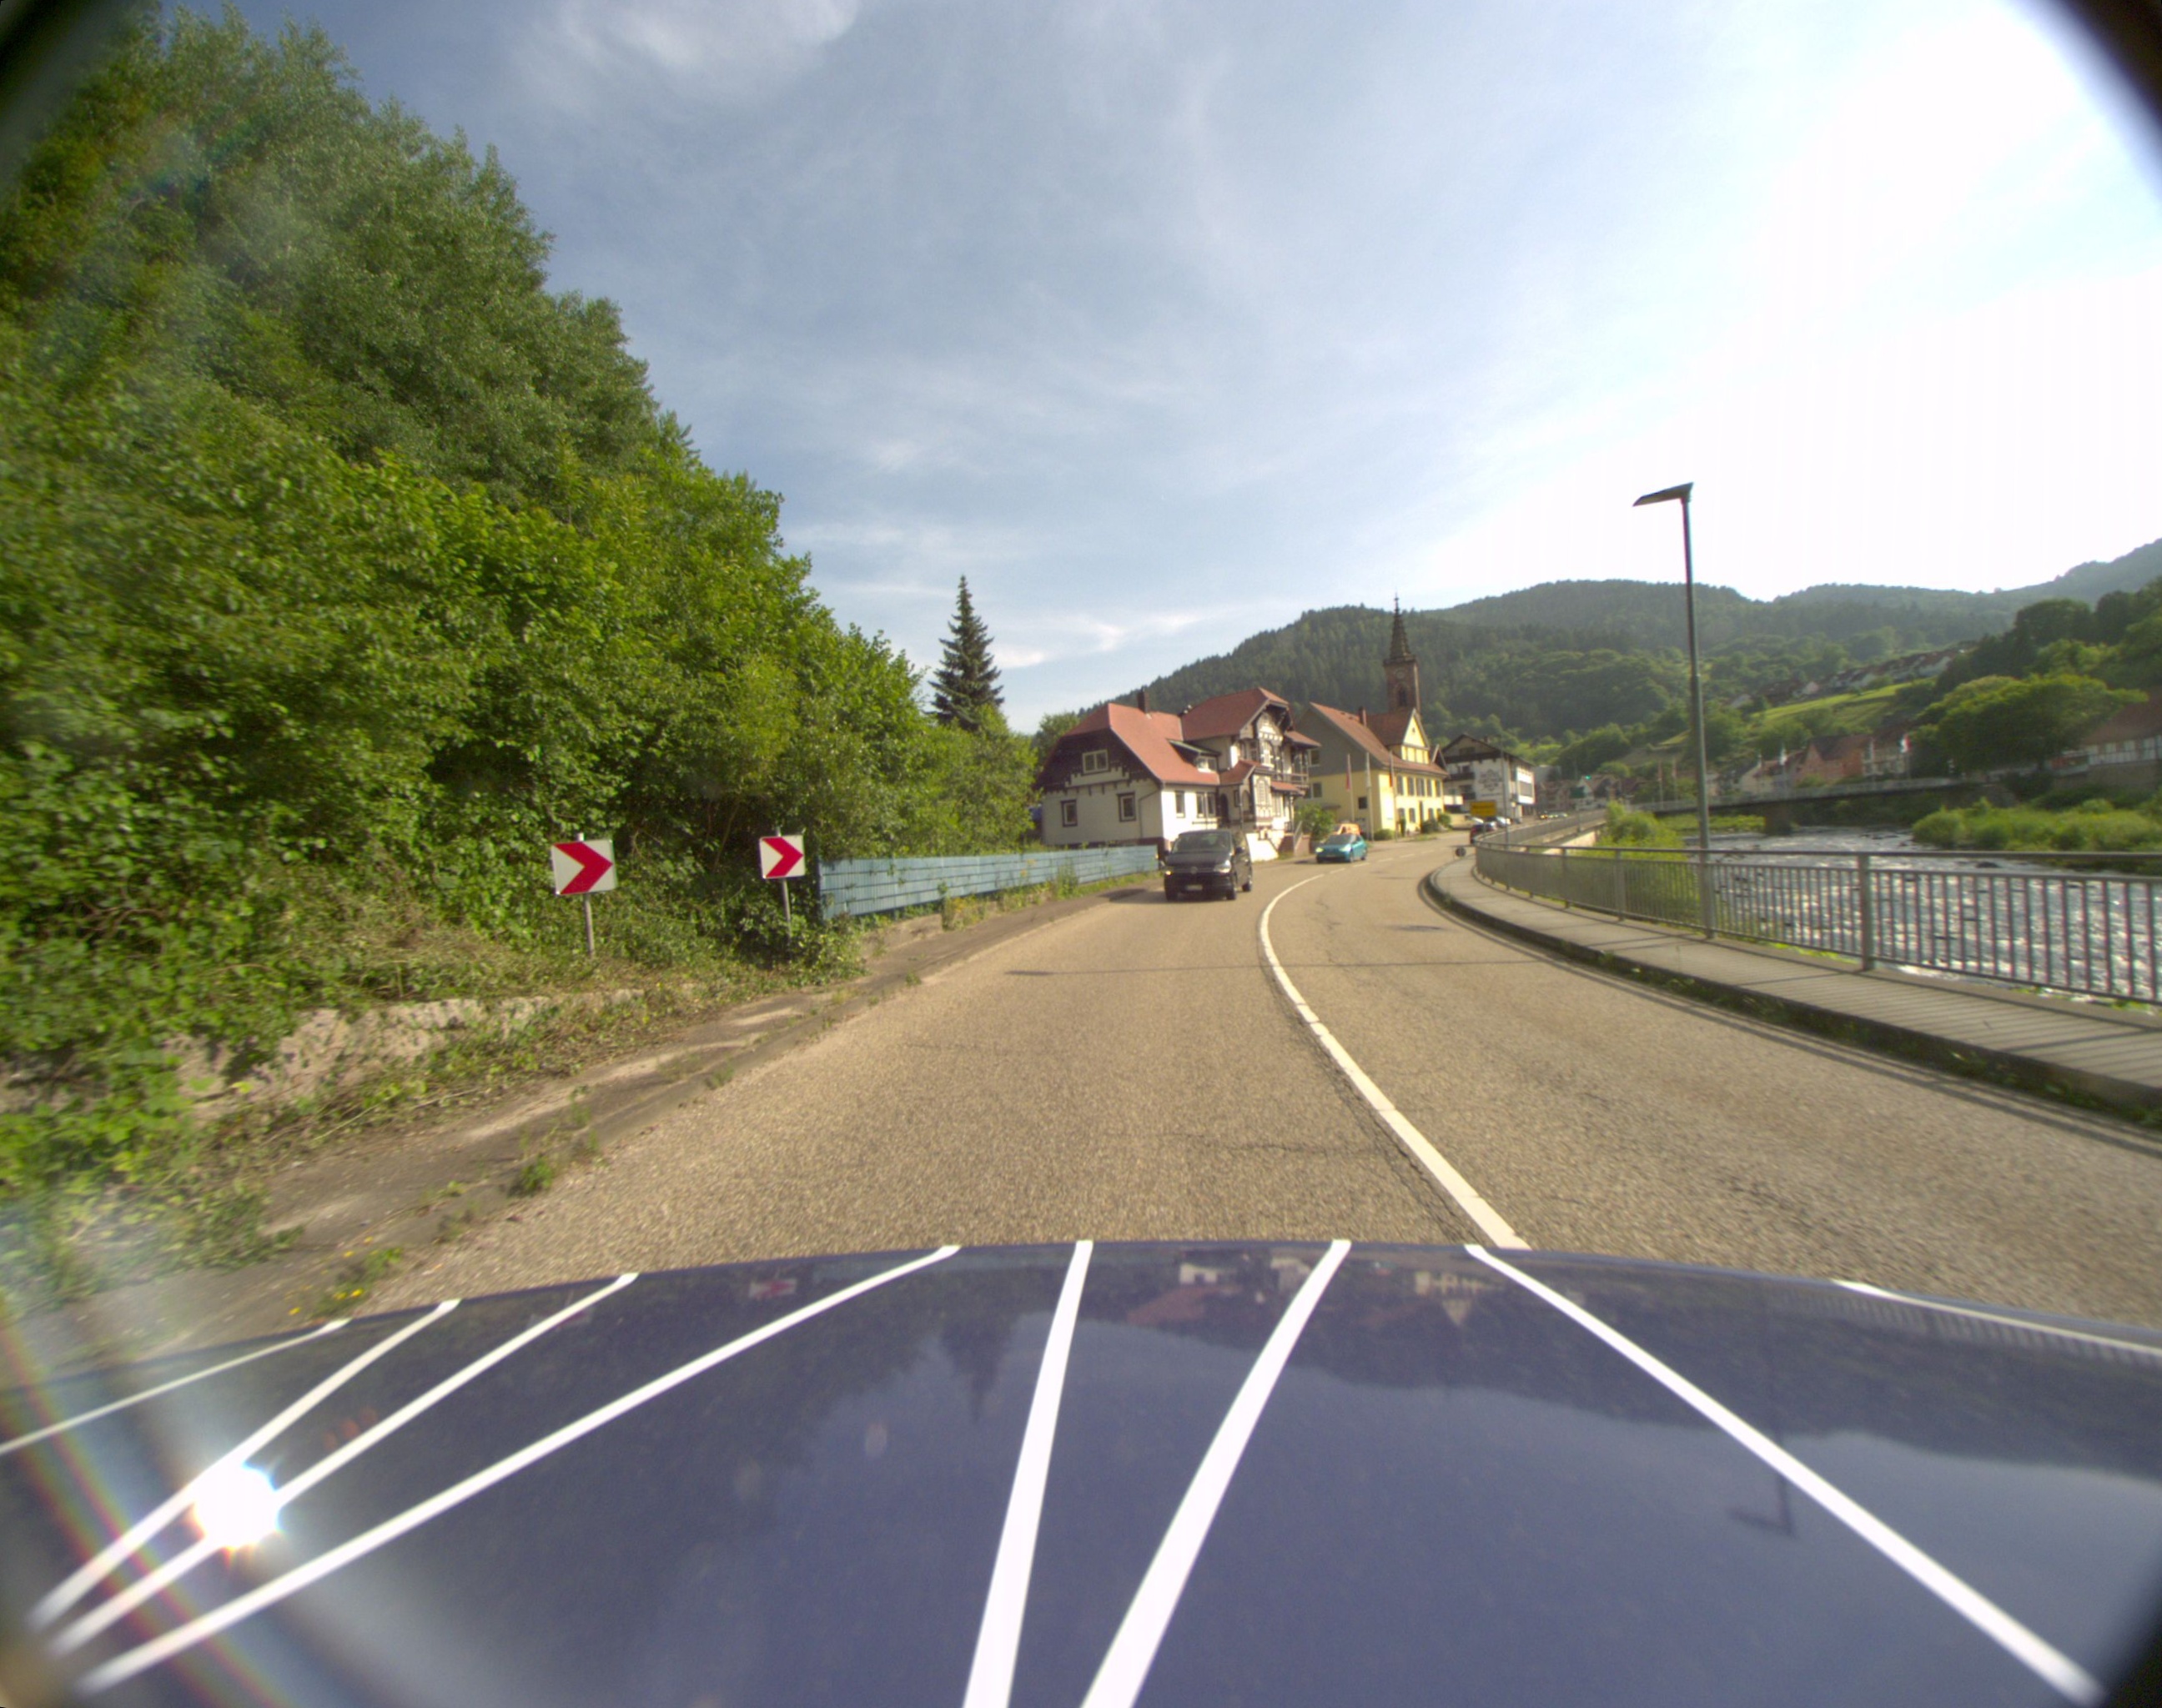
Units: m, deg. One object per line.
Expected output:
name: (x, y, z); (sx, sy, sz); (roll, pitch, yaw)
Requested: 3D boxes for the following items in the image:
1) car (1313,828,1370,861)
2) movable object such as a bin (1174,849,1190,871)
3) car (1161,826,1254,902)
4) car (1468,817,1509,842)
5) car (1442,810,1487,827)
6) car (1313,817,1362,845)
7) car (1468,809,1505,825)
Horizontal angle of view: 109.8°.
car: (13.974, -0.520, 40.642); (1.679, 1.513, 3.872); (-1, 3, 39)
movable object such as a bin: (5.274, 0.298, 39.541); (0.477, 1.056, 0.754); (-4, 1, 35)
car: (3.794, 0.183, 22.073); (1.885, 1.953, 4.871); (0, 2, 19)
car: (28.964, -1.763, 53.937); (1.815, 1.634, 4.007); (2, 3, 39)
car: (46.004, -4.314, 91.242); (4.443, 1.948, 1.716); (3, 6, 41)
car: (19.501, -1.771, 57.712); (1.909, 1.987, 4.843); (2, 4, 39)
car: (49.172, -4.434, 92.158); (3.747, 1.883, 1.374); (2, 5, 41)
